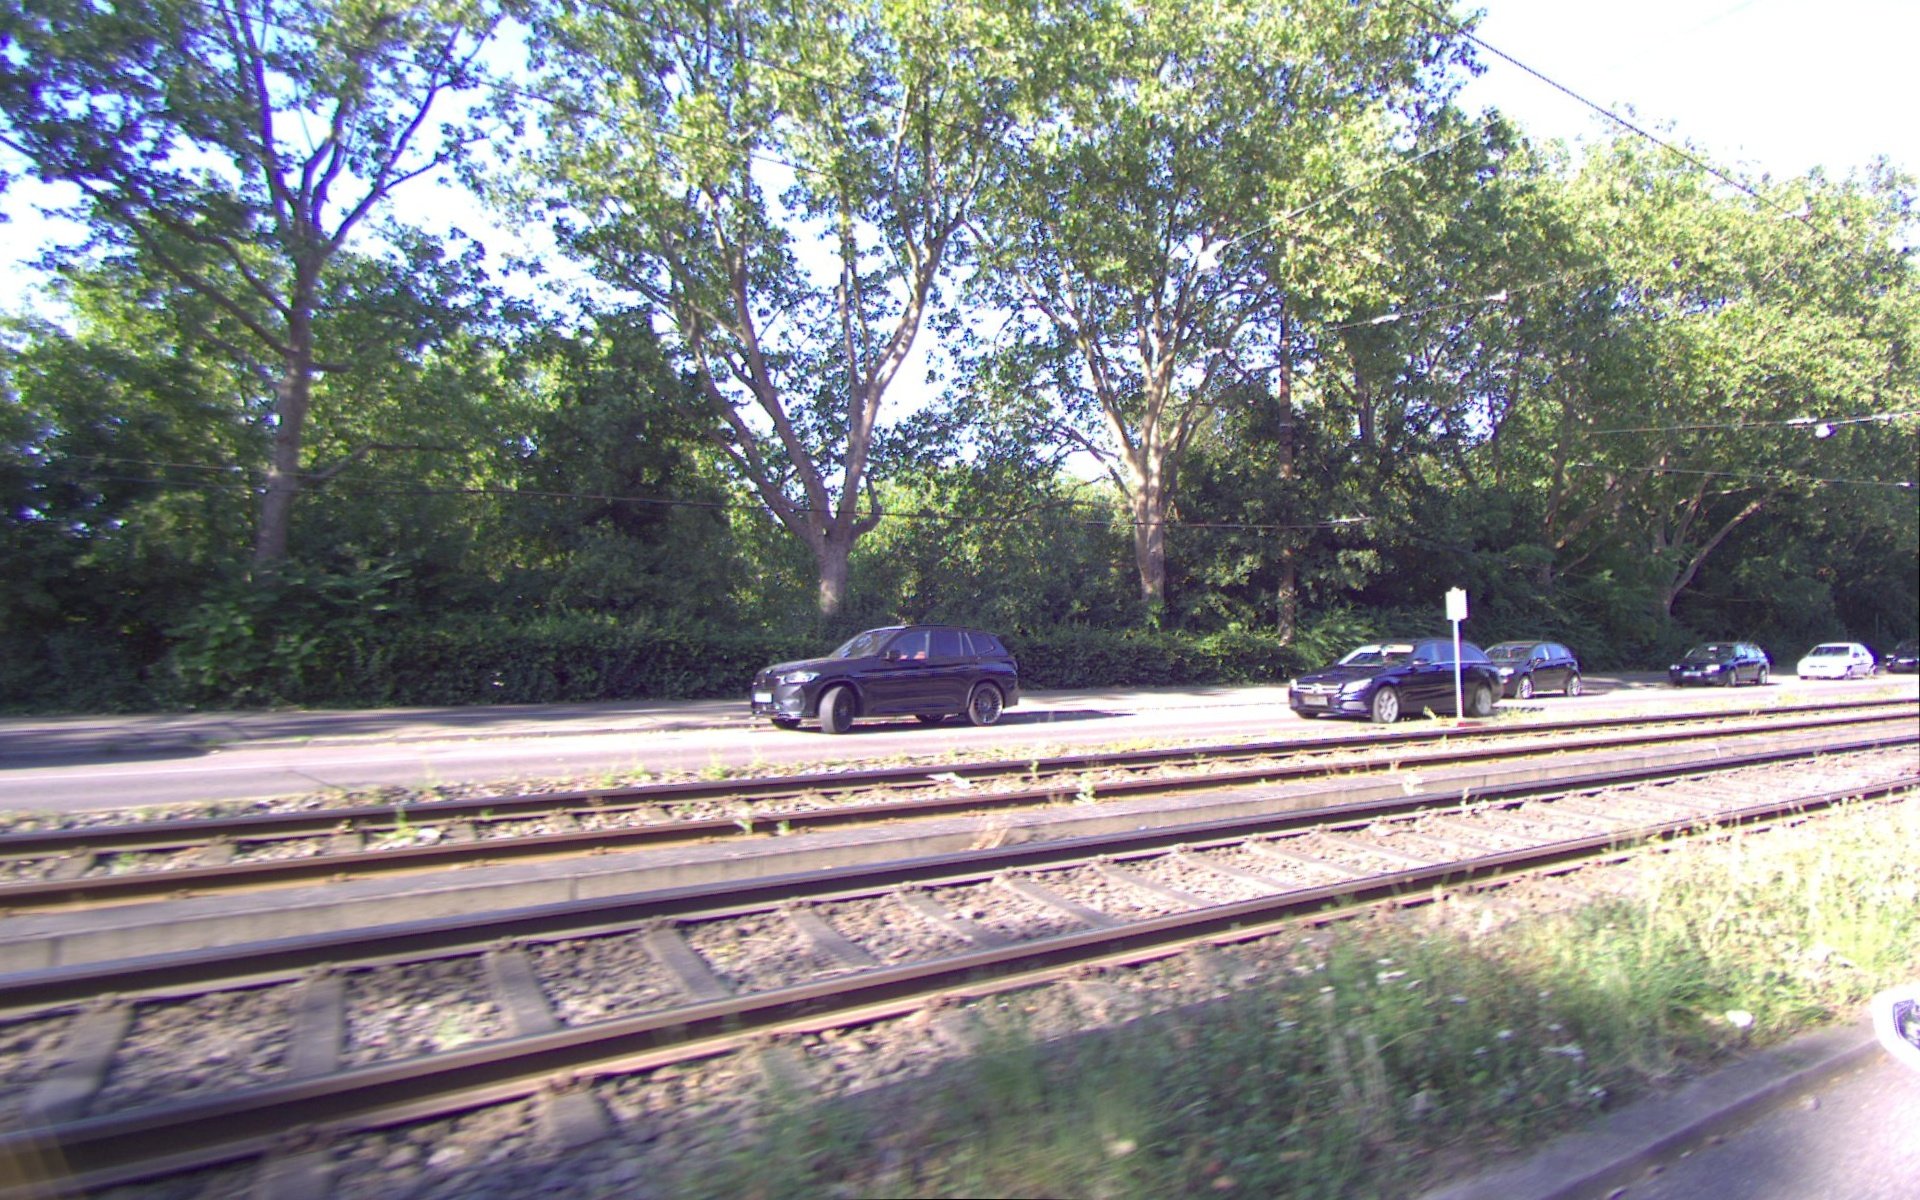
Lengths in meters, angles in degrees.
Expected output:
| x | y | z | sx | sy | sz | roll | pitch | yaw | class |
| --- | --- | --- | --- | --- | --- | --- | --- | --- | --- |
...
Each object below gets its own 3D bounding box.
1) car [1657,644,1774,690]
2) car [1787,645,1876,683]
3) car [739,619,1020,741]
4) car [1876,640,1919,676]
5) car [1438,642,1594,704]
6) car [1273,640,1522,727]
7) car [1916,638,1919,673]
| x | y | z | sx | sy | sz | roll | pitch | yaw | class |
| --- | --- | --- | --- | --- | --- | --- | --- | --- | --- |
| 25.612 | 2.248 | 34.012 | 4.278 | 1.455 | 1.817 | 2 | -3 | -33 | car |
| 34.932 | 2.540 | 40.248 | 3.811 | 1.455 | 1.729 | 2 | -3 | -33 | car |
| -1.239 | 1.259 | 16.536 | 4.355 | 1.741 | 1.814 | 2 | -4 | -37 | car |
| 44.025 | 2.671 | 46.286 | 3.841 | 1.575 | 1.729 | 2 | -3 | -33 | car |
| 14.820 | 1.904 | 26.729 | 4.348 | 1.525 | 1.817 | 2 | -3 | -33 | car |
| 8.139 | 1.489 | 18.565 | 4.698 | 1.433 | 1.910 | 2 | -4 | -33 | car |
| 49.231 | 2.764 | 49.859 | 3.841 | 1.750 | 1.729 | 2 | -3 | -33 | car |
